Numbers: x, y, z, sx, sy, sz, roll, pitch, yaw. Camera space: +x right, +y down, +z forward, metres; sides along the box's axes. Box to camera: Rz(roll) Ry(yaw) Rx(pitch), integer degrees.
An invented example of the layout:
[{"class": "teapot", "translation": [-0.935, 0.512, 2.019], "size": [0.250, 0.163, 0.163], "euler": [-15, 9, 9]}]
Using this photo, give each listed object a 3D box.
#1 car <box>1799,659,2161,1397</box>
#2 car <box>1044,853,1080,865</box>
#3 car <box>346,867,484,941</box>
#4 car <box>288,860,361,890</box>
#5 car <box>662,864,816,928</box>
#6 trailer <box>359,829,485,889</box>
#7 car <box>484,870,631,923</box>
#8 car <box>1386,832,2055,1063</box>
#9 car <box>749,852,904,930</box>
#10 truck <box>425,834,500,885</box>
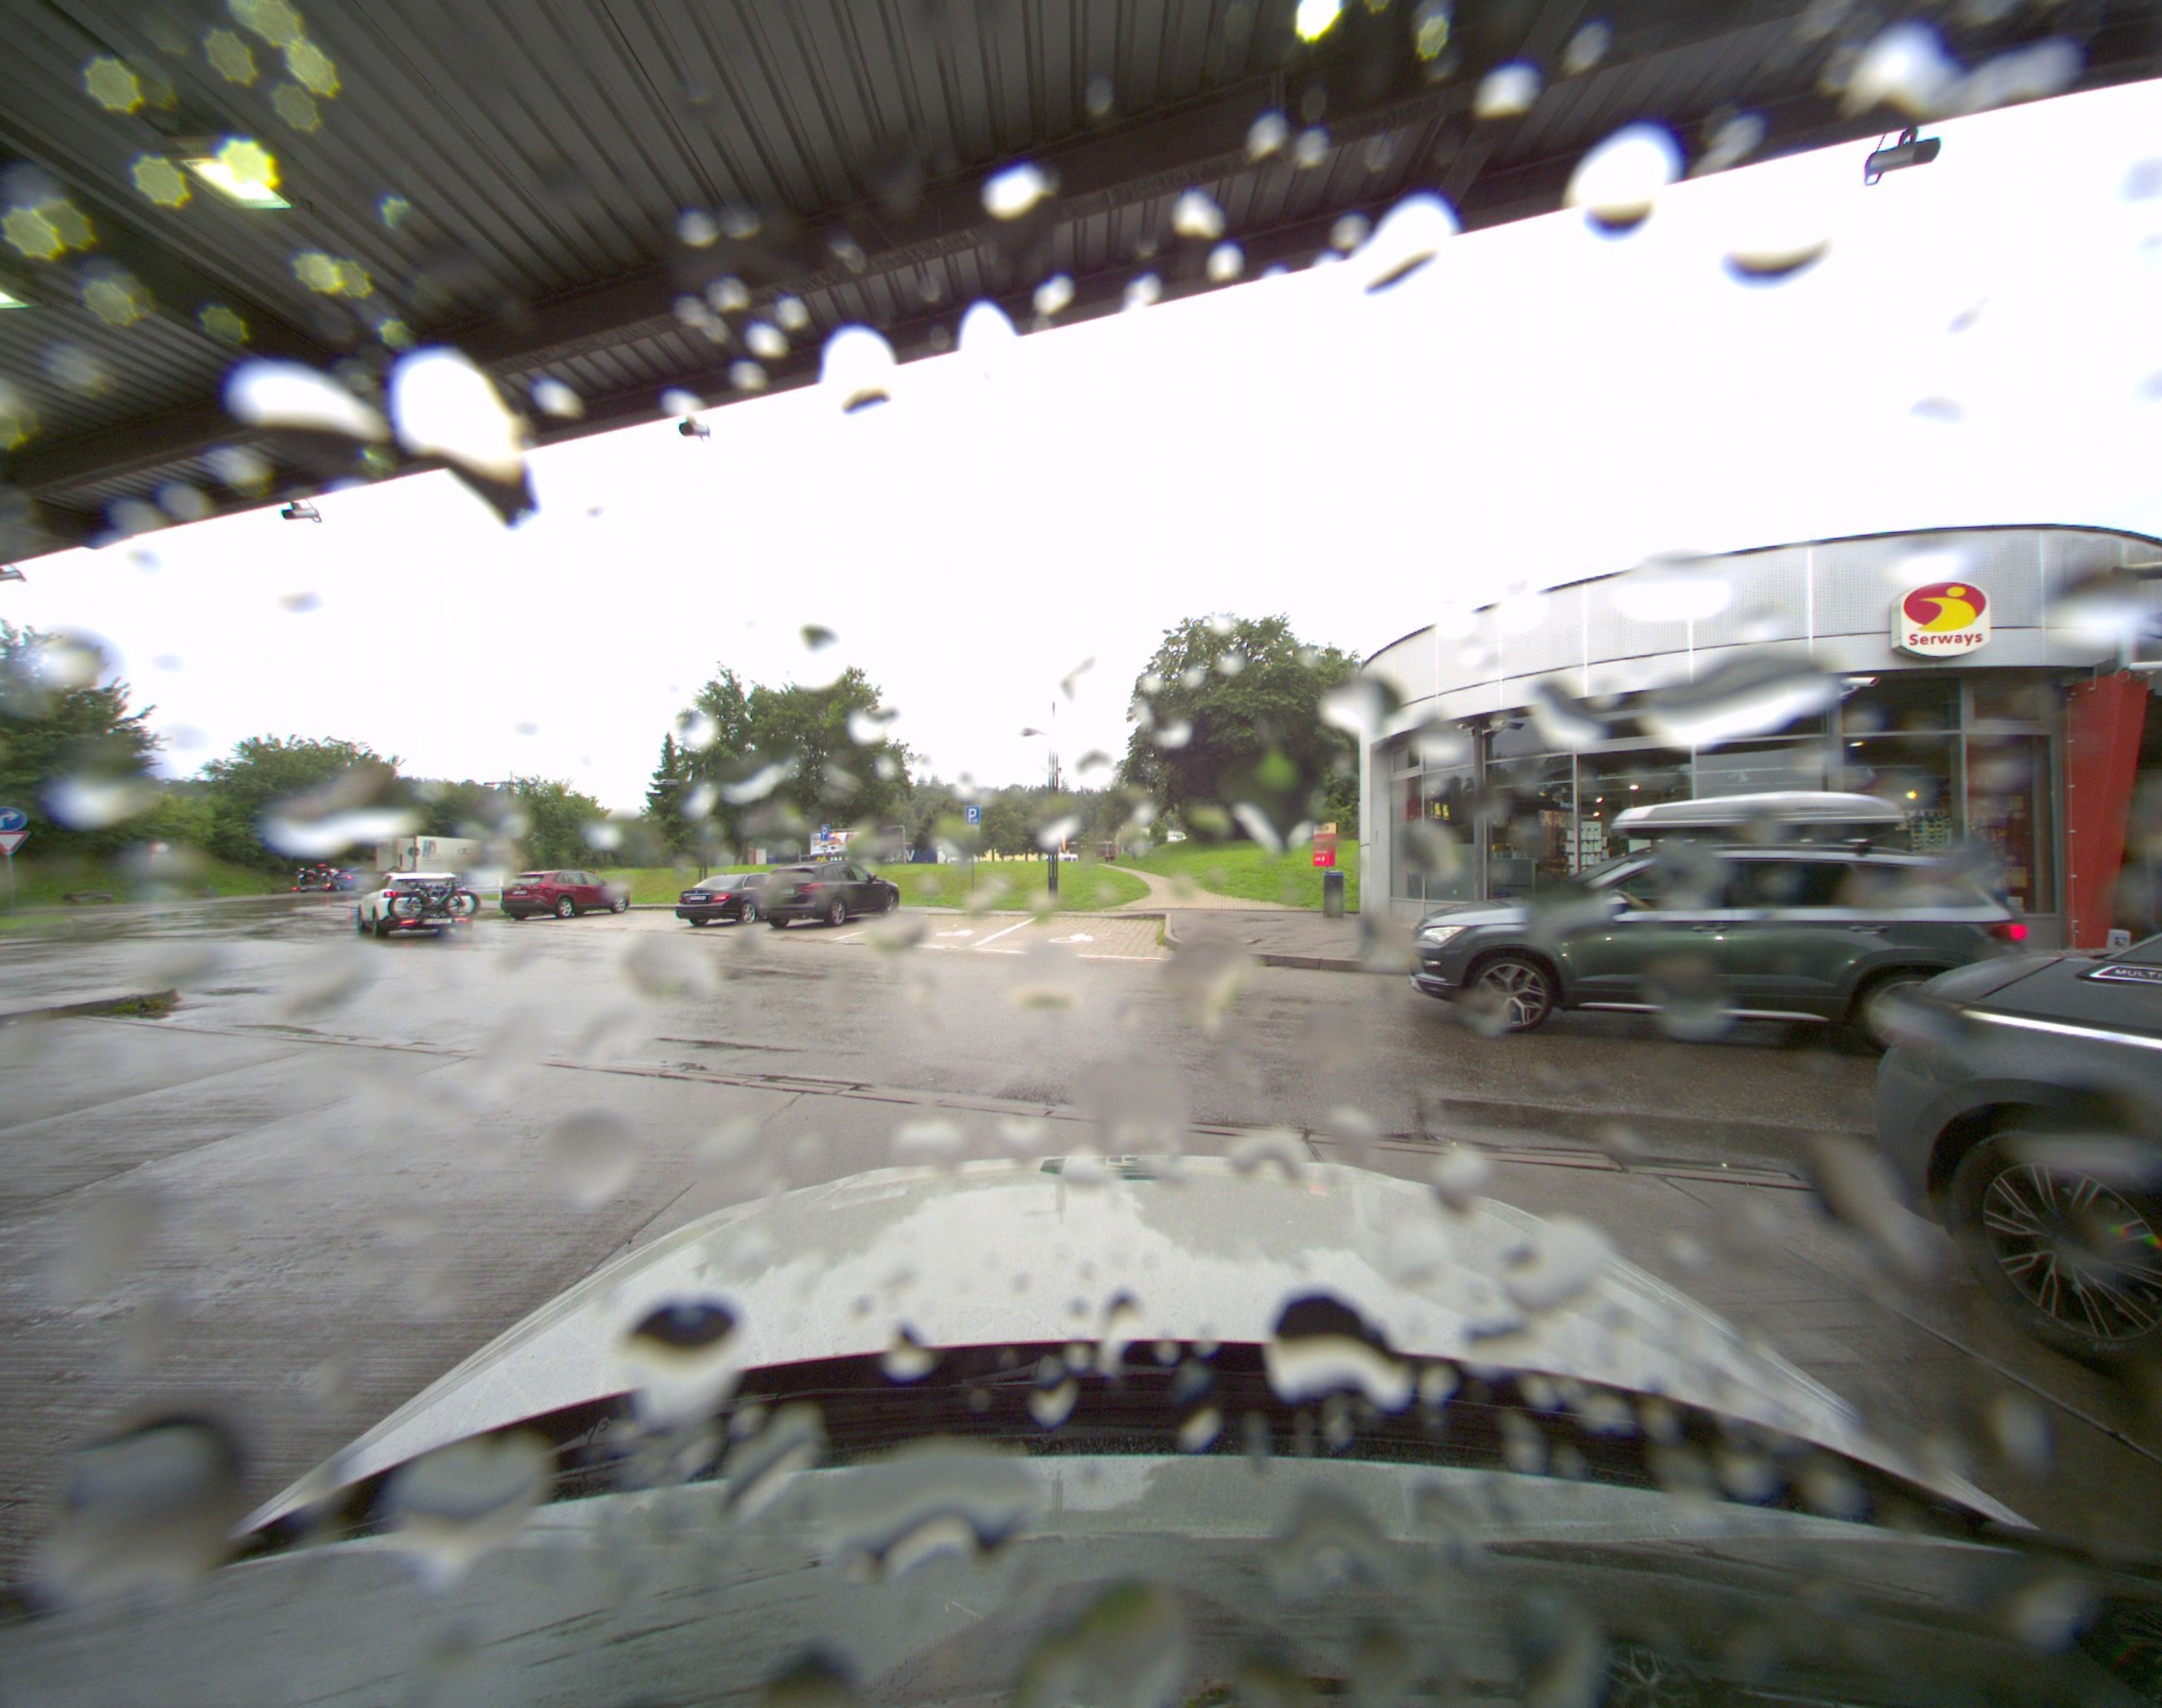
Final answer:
[{"class": "car", "translation": [3.720, 0.452, 1.238], "size": [1.809, 1.948, 4.002], "euler": [-1, 0, 2]}, {"class": "car", "translation": [-3.176, 0.804, 134.085], "size": [5.376, 2.013, 2.468], "euler": [-1, 0, 21]}, {"class": "car", "translation": [-16.613, 1.139, 20.219], "size": [4.940, 1.565, 1.831], "euler": [-1, 0, 41]}, {"class": "car", "translation": [-49.215, 1.330, 53.081], "size": [1.934, 1.838, 4.361], "euler": [-1, 0, -20]}, {"class": "car", "translation": [-9.613, 1.139, 23.306], "size": [1.871, 1.565, 4.200], "euler": [-2, 0, 13]}, {"class": "trailer", "translation": [-54.882, 0.433, 68.488], "size": [3.466, 4.557, 13.827], "euler": [0, -1, -18]}, {"class": "car", "translation": [-18.154, 1.419, 28.530], "size": [1.873, 1.596, 4.364], "euler": [-2, 0, 8]}, {"class": "car", "translation": [5.072, 0.650, 7.285], "size": [4.274, 1.587, 1.901], "euler": [-1, 0, 23]}, {"class": "car", "translation": [-6.612, 0.889, 21.748], "size": [1.871, 1.828, 4.429], "euler": [-2, 0, 13]}, {"class": "truck", "translation": [-57.104, 0.507, 75.429], "size": [3.467, 4.557, 6.694], "euler": [0, -1, -18]}]
